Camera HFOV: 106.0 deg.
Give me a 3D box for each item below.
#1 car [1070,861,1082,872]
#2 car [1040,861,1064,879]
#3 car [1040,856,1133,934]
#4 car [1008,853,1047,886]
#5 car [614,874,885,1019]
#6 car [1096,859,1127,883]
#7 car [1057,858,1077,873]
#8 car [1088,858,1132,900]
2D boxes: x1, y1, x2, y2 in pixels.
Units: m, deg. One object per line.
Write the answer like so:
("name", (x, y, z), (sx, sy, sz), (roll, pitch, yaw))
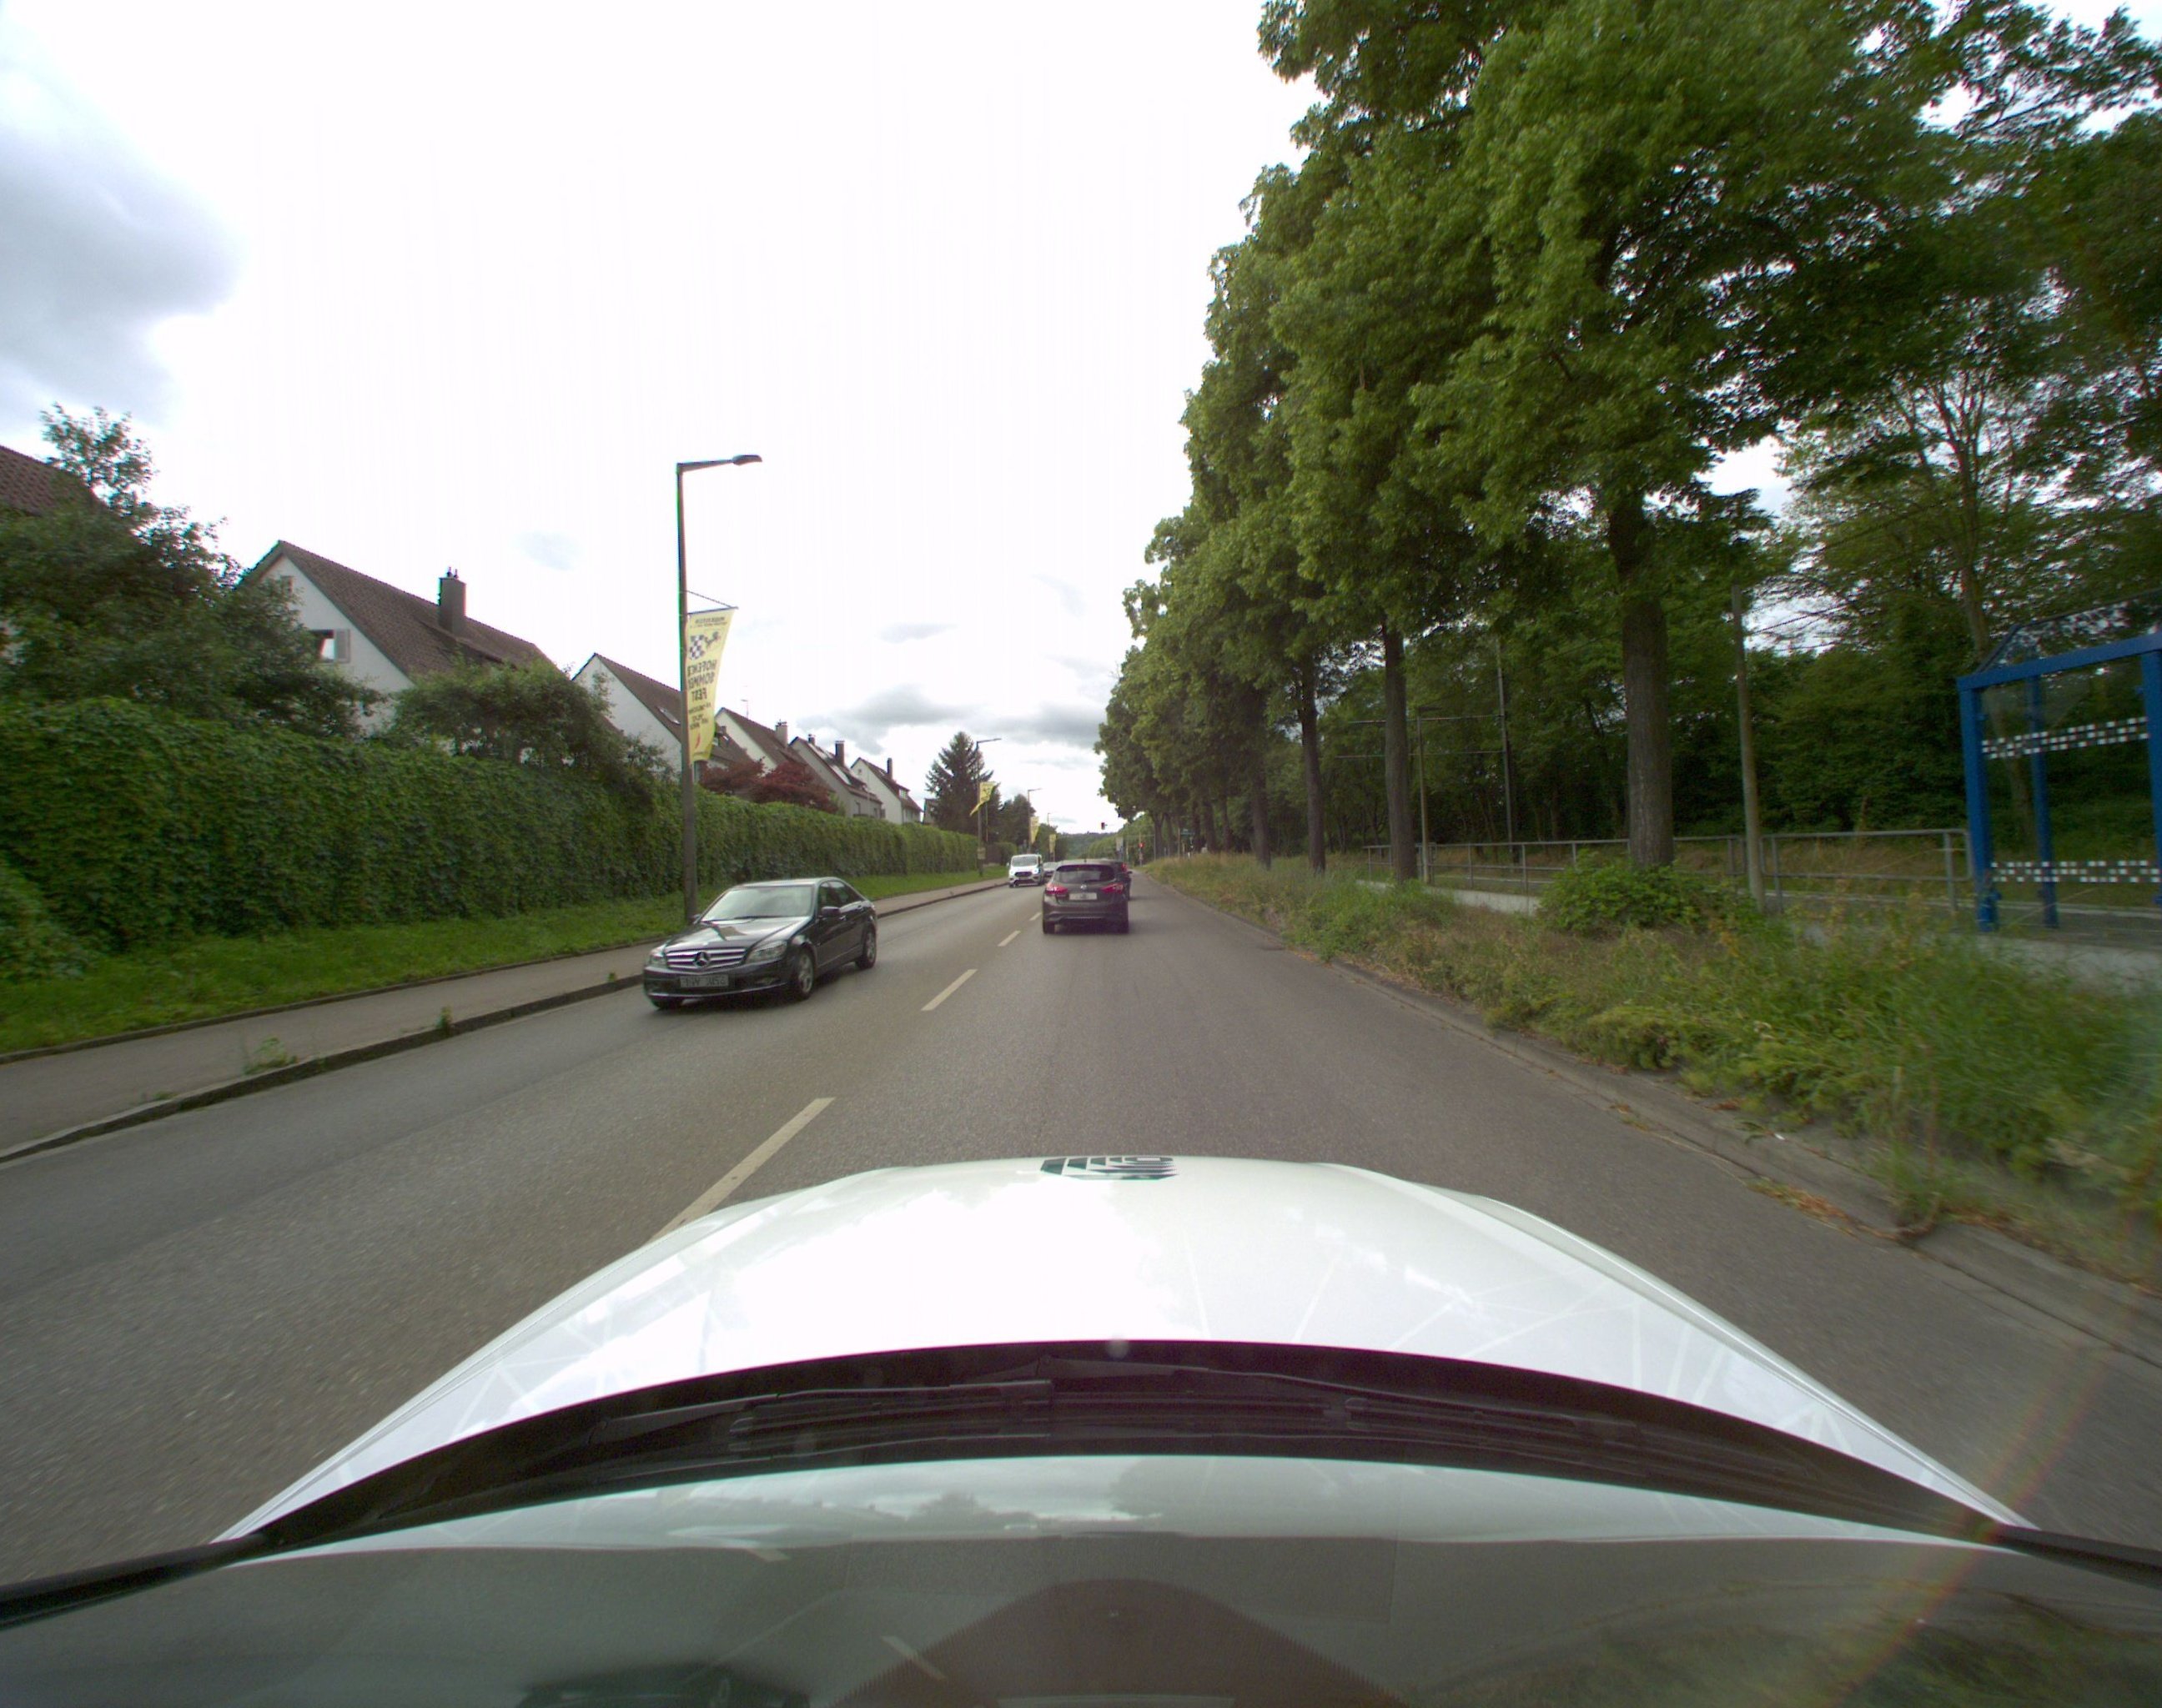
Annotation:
("car", (-0.736, 1.840, 122.762), (1.722, 1.464, 4.154), (-3, 0, 1))
("car", (-2.381, 1.310, 68.386), (1.645, 1.348, 4.479), (-3, 0, 1))
("car", (0.184, 0.823, 18.239), (1.828, 1.519, 4.484), (0, 0, 2))
("car", (-3.342, 0.951, 51.422), (1.899, 1.932, 4.913), (-3, -1, 2))
("car", (-4.044, 1.035, 10.794), (1.727, 1.375, 4.240), (-3, 0, 1))
("car", (1.900, 1.045, 50.919), (1.785, 1.397, 4.001), (-2, 0, 2))
("car", (-1.412, 1.199, 82.793), (1.880, 1.383, 4.490), (-3, 0, 0))
("car", (1.080, 0.896, 30.897), (1.533, 1.478, 3.765), (-1, 0, 2))
